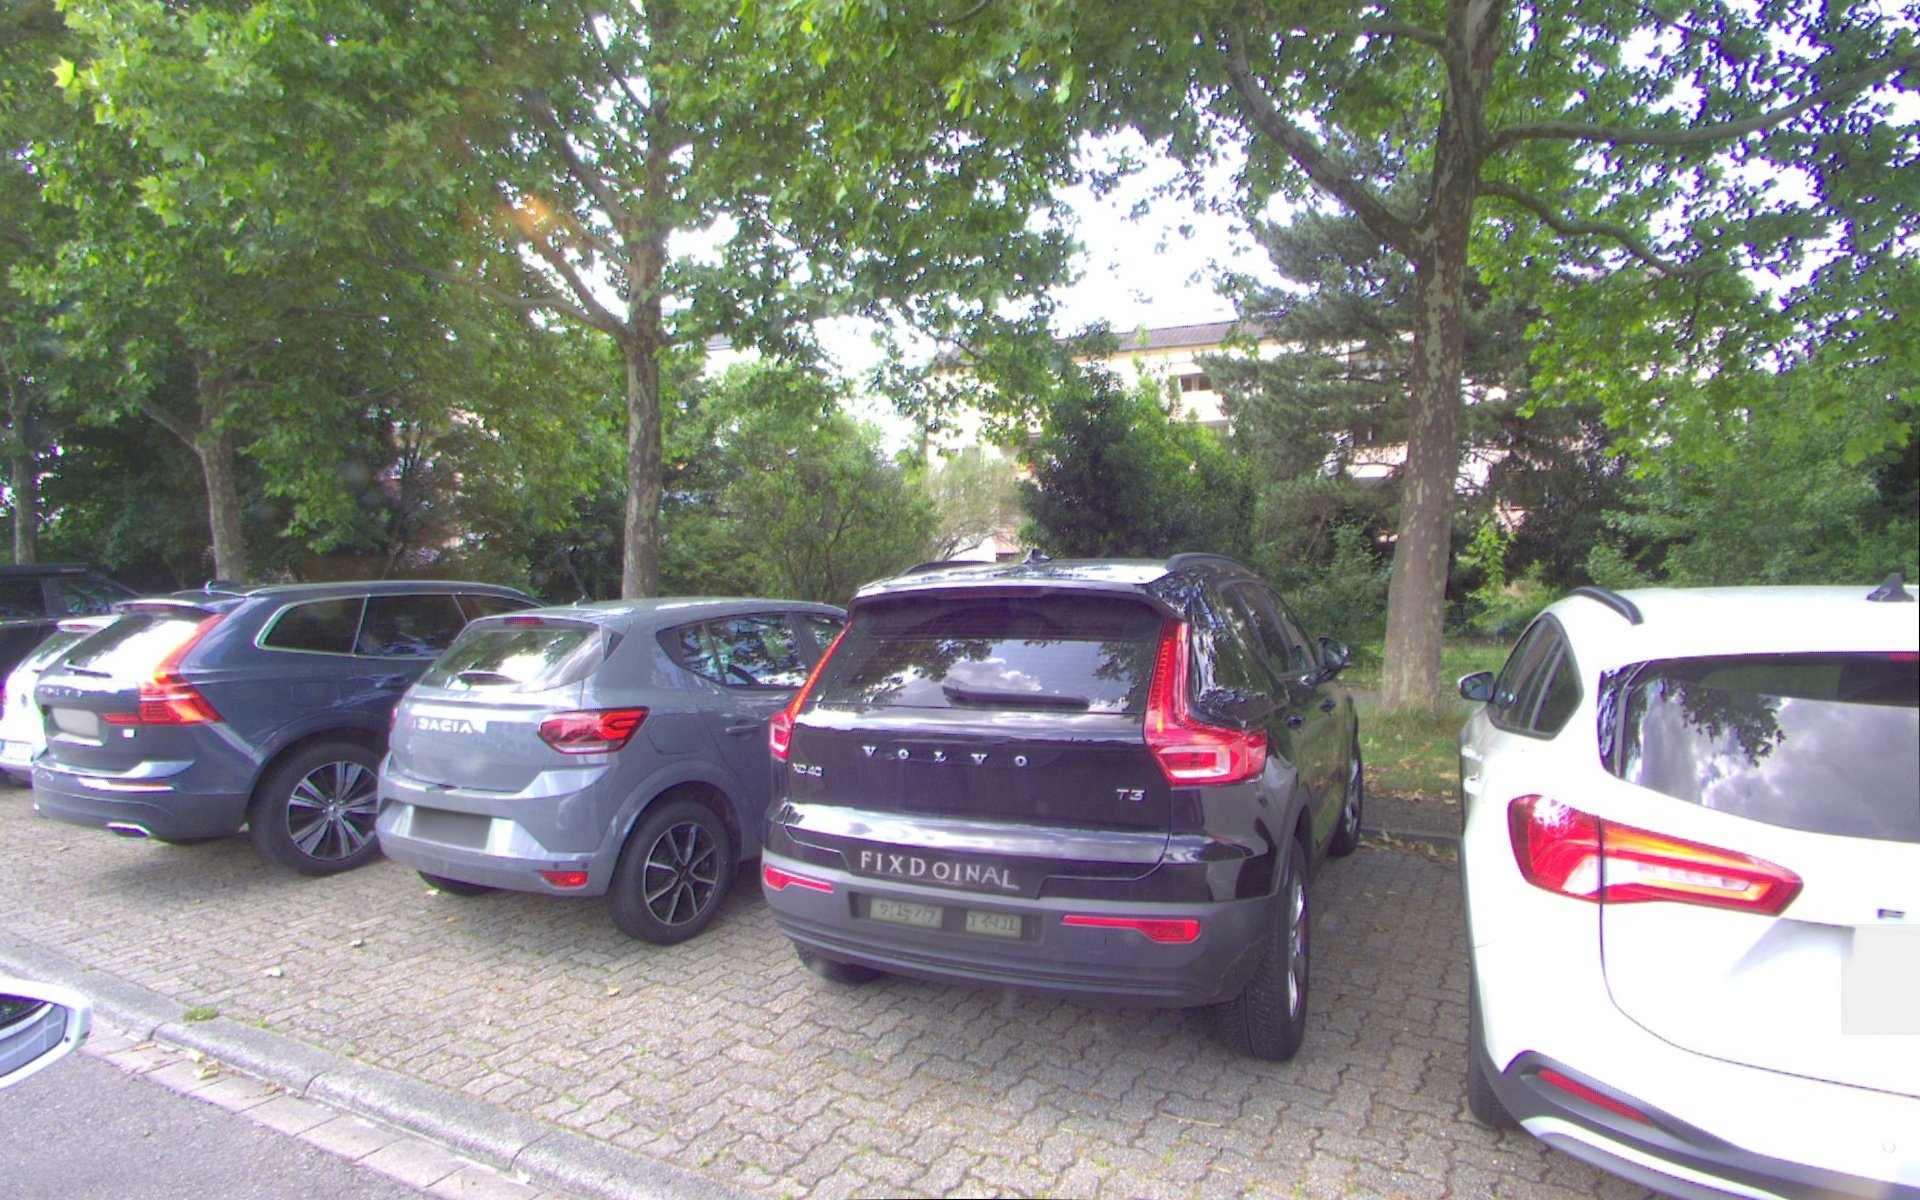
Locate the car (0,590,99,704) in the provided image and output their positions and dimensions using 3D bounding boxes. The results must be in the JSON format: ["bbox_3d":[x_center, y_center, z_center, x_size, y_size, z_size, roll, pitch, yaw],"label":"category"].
[{"bbox_3d":[-16.428,0.760,15.333,1.828,1.790,4.538,0,1,30],"label":"car"}]

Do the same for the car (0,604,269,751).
[{"bbox_3d":[-10.612,0.849,11.561,1.730,1.514,3.959,-1,1,30],"label":"car"}]

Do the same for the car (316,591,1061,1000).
[{"bbox_3d":[-1.136,0.728,6.109,1.731,1.521,4.371,0,1,32],"label":"car"}]

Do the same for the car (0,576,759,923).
[{"bbox_3d":[-3.606,0.688,7.103,1.731,1.661,4.371,0,1,32],"label":"car"}]

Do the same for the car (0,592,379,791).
[{"bbox_3d":[-8.240,0.757,10.049,1.725,1.627,3.969,0,1,20],"label":"car"}]

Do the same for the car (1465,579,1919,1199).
[{"bbox_3d":[2.843,0.679,3.602,1.818,1.493,4.655,0,1,27],"label":"car"}]

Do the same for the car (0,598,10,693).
[{"bbox_3d":[-18.795,0.852,16.232,1.826,1.683,4.543,0,1,26],"label":"car"}]

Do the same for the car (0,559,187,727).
[{"bbox_3d":[-13.245,0.562,13.135,1.828,2.152,4.538,0,1,30],"label":"car"}]

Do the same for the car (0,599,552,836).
[{"bbox_3d":[-5.856,0.787,8.804,1.730,1.514,3.959,0,1,30],"label":"car"}]

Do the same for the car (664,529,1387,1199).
[{"bbox_3d":[0.920,0.624,4.849,1.818,1.648,4.655,0,1,27],"label":"car"}]
